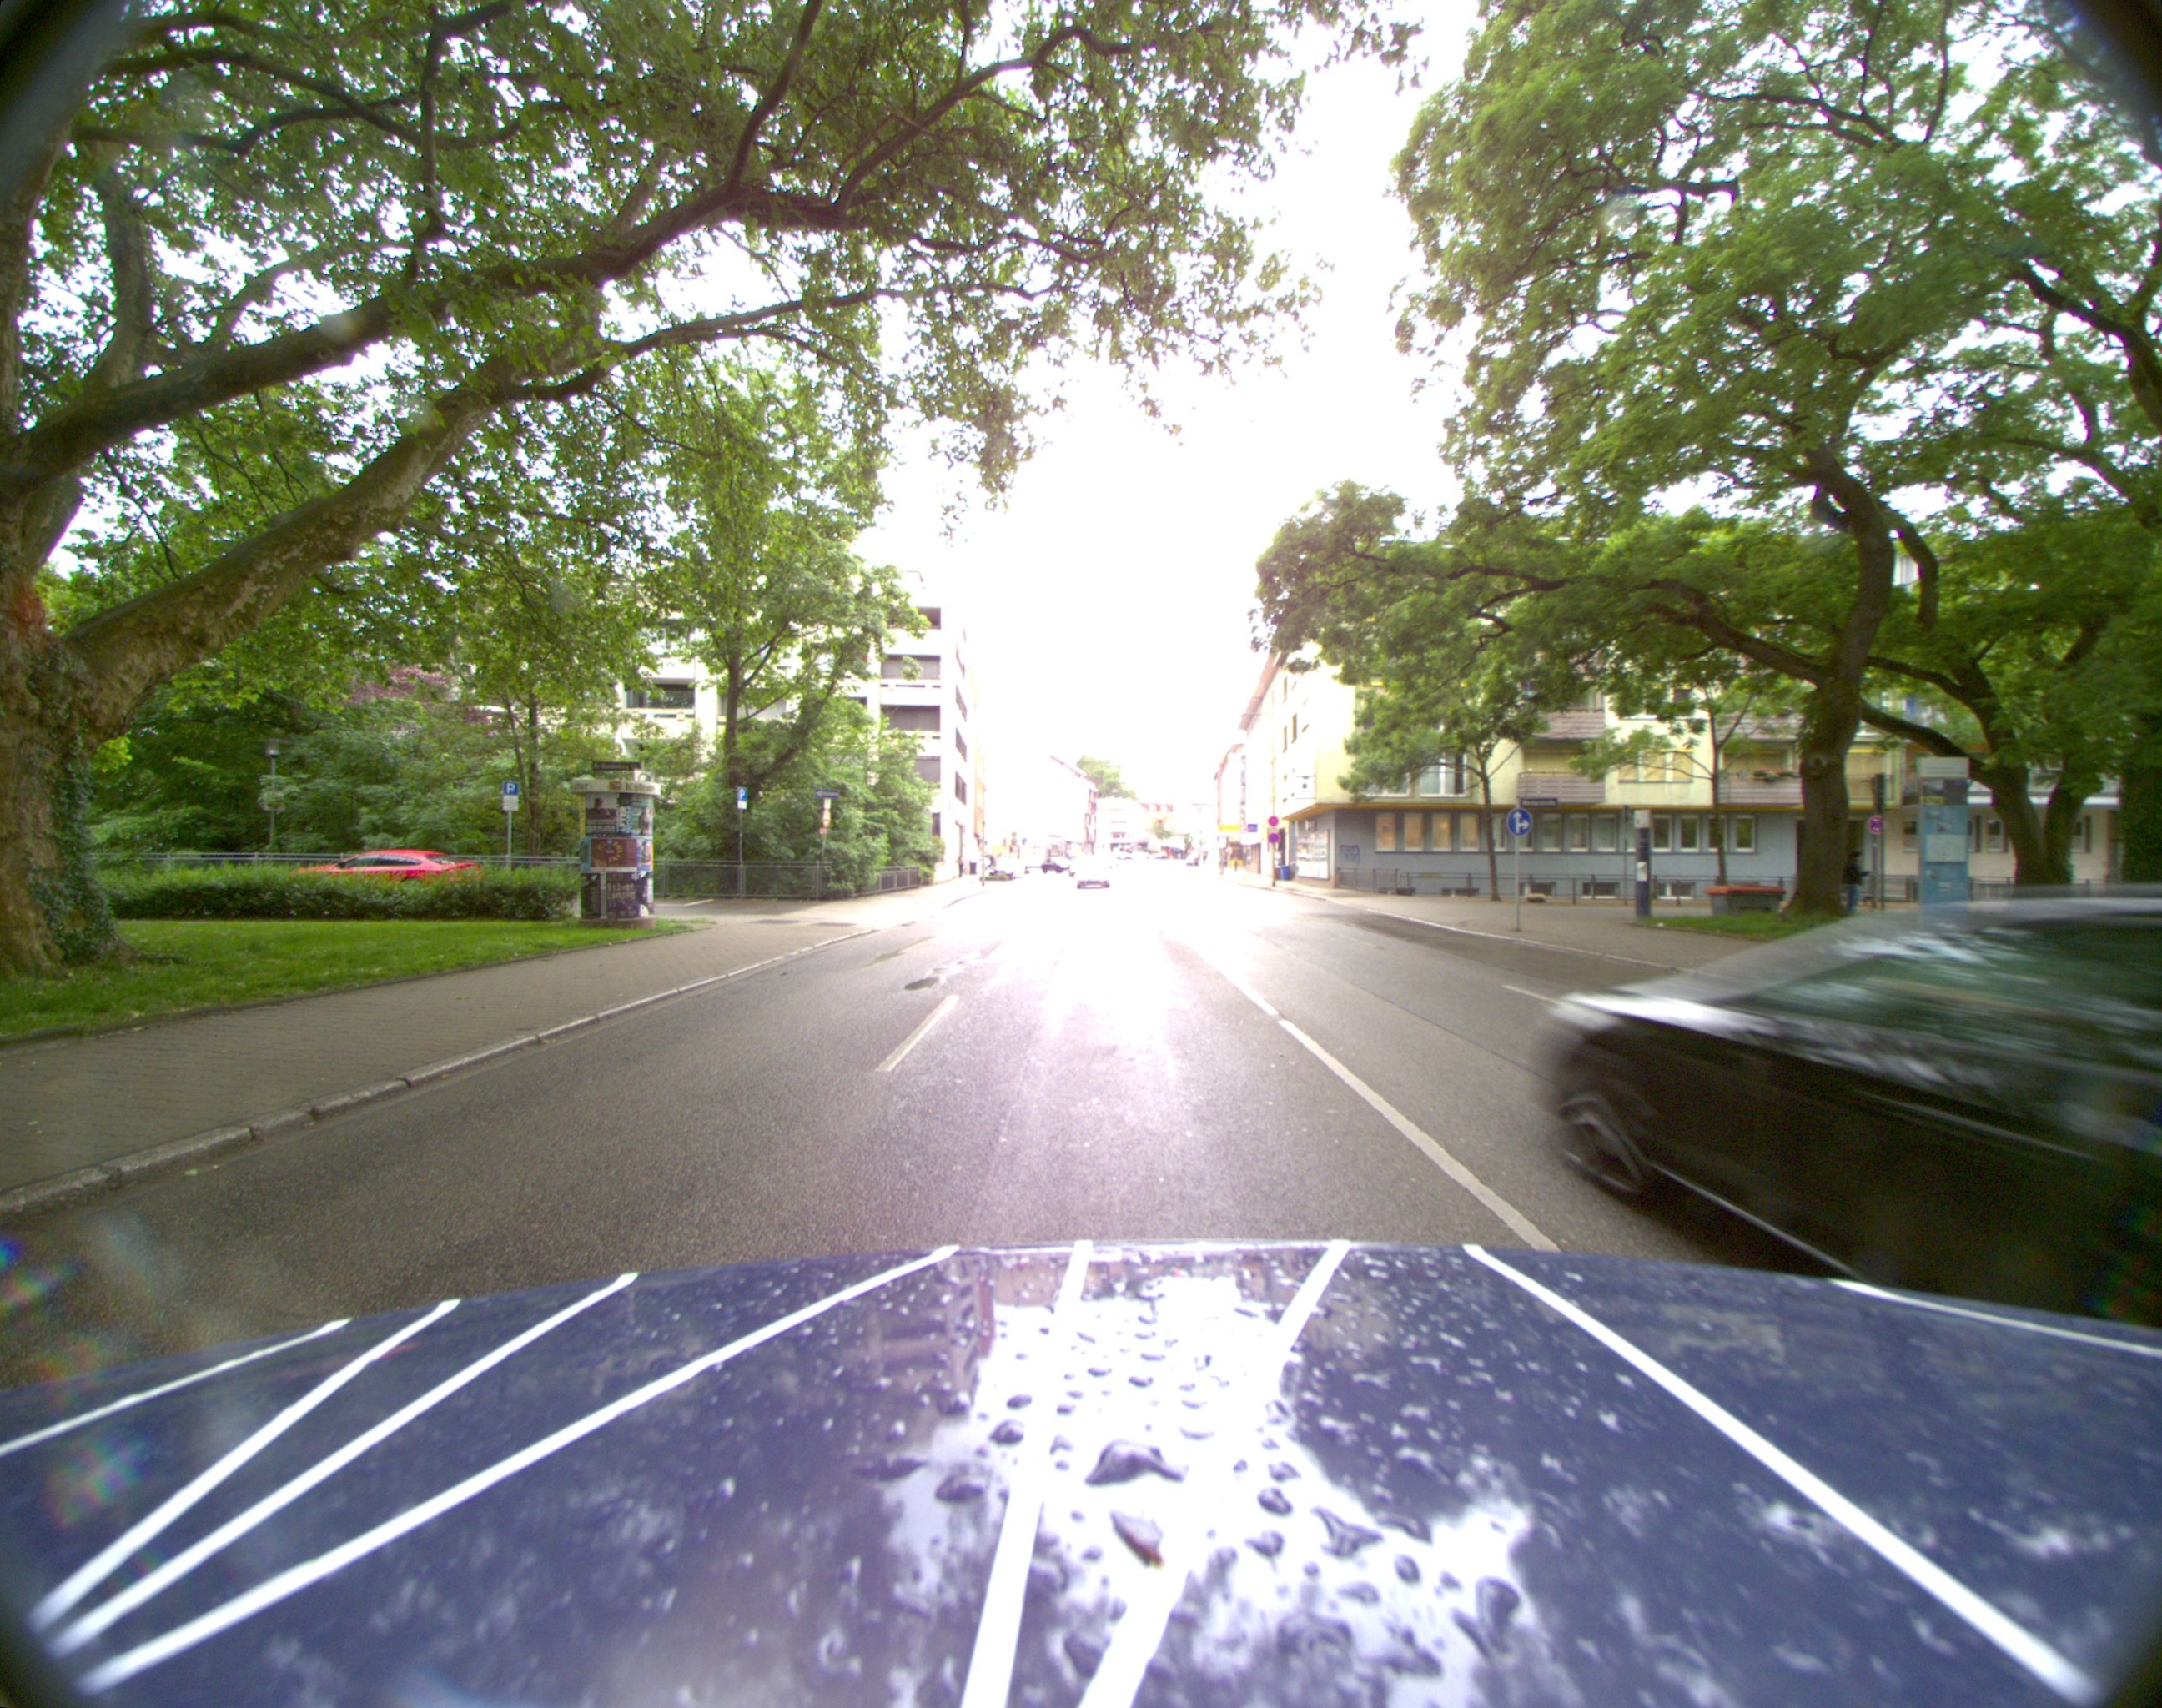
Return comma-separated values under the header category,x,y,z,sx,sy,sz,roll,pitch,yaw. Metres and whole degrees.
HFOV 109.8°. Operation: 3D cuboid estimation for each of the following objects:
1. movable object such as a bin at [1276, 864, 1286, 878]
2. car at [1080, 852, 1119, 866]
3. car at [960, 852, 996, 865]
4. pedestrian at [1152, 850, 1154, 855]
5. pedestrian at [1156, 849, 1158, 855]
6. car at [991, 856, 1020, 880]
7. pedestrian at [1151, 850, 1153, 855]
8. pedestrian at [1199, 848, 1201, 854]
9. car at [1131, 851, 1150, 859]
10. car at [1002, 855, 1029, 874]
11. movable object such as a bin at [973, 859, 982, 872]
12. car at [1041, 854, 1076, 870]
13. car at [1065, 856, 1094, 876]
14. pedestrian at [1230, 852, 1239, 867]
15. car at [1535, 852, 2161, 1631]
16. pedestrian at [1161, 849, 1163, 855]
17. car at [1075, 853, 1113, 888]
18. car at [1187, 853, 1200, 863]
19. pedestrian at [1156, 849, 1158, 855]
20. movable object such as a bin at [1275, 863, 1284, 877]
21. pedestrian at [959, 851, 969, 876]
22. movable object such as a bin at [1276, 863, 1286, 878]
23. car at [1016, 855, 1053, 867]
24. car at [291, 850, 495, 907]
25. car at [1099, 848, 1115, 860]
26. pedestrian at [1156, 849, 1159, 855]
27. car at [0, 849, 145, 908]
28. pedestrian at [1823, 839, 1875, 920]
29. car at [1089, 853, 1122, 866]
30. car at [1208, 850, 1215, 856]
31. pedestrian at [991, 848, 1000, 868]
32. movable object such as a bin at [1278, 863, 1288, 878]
category,x,y,z,sx,sy,sz,roll,pitch,yaw
movable object such as a bin,12.848,1.095,48.741,0.529,0.890,0.435,-4,0,8
car,2.296,0.642,93.503,4.687,1.559,1.758,-2,0,2
car,-12.651,0.586,93.740,4.157,1.576,1.801,1,0,-1
pedestrian,17.451,-0.434,184.449,0.379,1.283,0.401,0,1,38
pedestrian,18.403,-0.461,183.124,0.379,1.283,0.401,0,1,38
car,-5.313,0.965,53.702,1.706,1.549,3.804,1,0,-1
pedestrian,16.786,-0.369,180.406,0.379,1.283,0.401,1,1,39
pedestrian,27.082,-0.751,173.532,0.400,1.283,0.380,0,1,1
car,12.963,0.223,165.065,2.049,1.754,4.560,1,0,-26
car,-5.198,0.843,60.434,1.835,1.412,4.569,1,0,-1
movable object such as a bin,-8.591,0.945,62.828,0.681,1.097,0.514,0,1,-1
car,-2.388,0.785,79.579,1.804,1.575,4.149,1,0,-34
car,-0.123,1.004,63.122,1.758,1.559,3.997,-2,0,-9
pedestrian,16.758,0.595,82.850,0.785,1.578,0.674,-2,0,21
car,3.178,0.818,1.680,1.850,1.616,4.137,1,0,0
pedestrian,18.880,-0.422,176.387,0.399,1.283,0.380,0,1,10
car,0.643,0.781,37.753,1.756,1.559,4.000,-2,0,1
car,17.979,0.608,121.381,1.834,1.612,4.003,0,0,10
pedestrian,18.564,-0.493,185.794,0.379,1.283,0.401,1,1,39
movable object such as a bin,13.000,1.057,49.835,0.465,0.922,0.428,-4,0,8
pedestrian,-8.070,0.650,52.411,0.599,1.650,0.691,3,0,-7
movable object such as a bin,12.950,1.067,49.237,0.529,0.922,0.426,-4,0,8
car,-5.761,0.846,93.597,4.463,1.377,1.476,0,0,1
car,-19.551,0.677,21.758,3.999,1.473,1.875,1,1,-5
car,3.947,0.069,115.383,2.016,1.754,4.765,1,0,7
pedestrian,18.035,-0.419,178.923,0.379,1.283,0.401,1,1,40
car,-29.530,0.672,21.409,3.932,1.561,1.735,1,0,-4
pedestrian,19.606,0.629,19.409,0.780,2.002,0.754,0,1,34
car,3.125,0.675,97.166,4.196,1.596,1.481,1,0,1
car,33.196,-0.260,193.405,1.591,1.518,3.491,0,0,14
pedestrian,-9.406,0.467,83.155,0.806,2.140,0.737,0,1,-23
movable object such as a bin,12.816,1.053,48.221,0.529,0.955,0.435,-4,0,8
